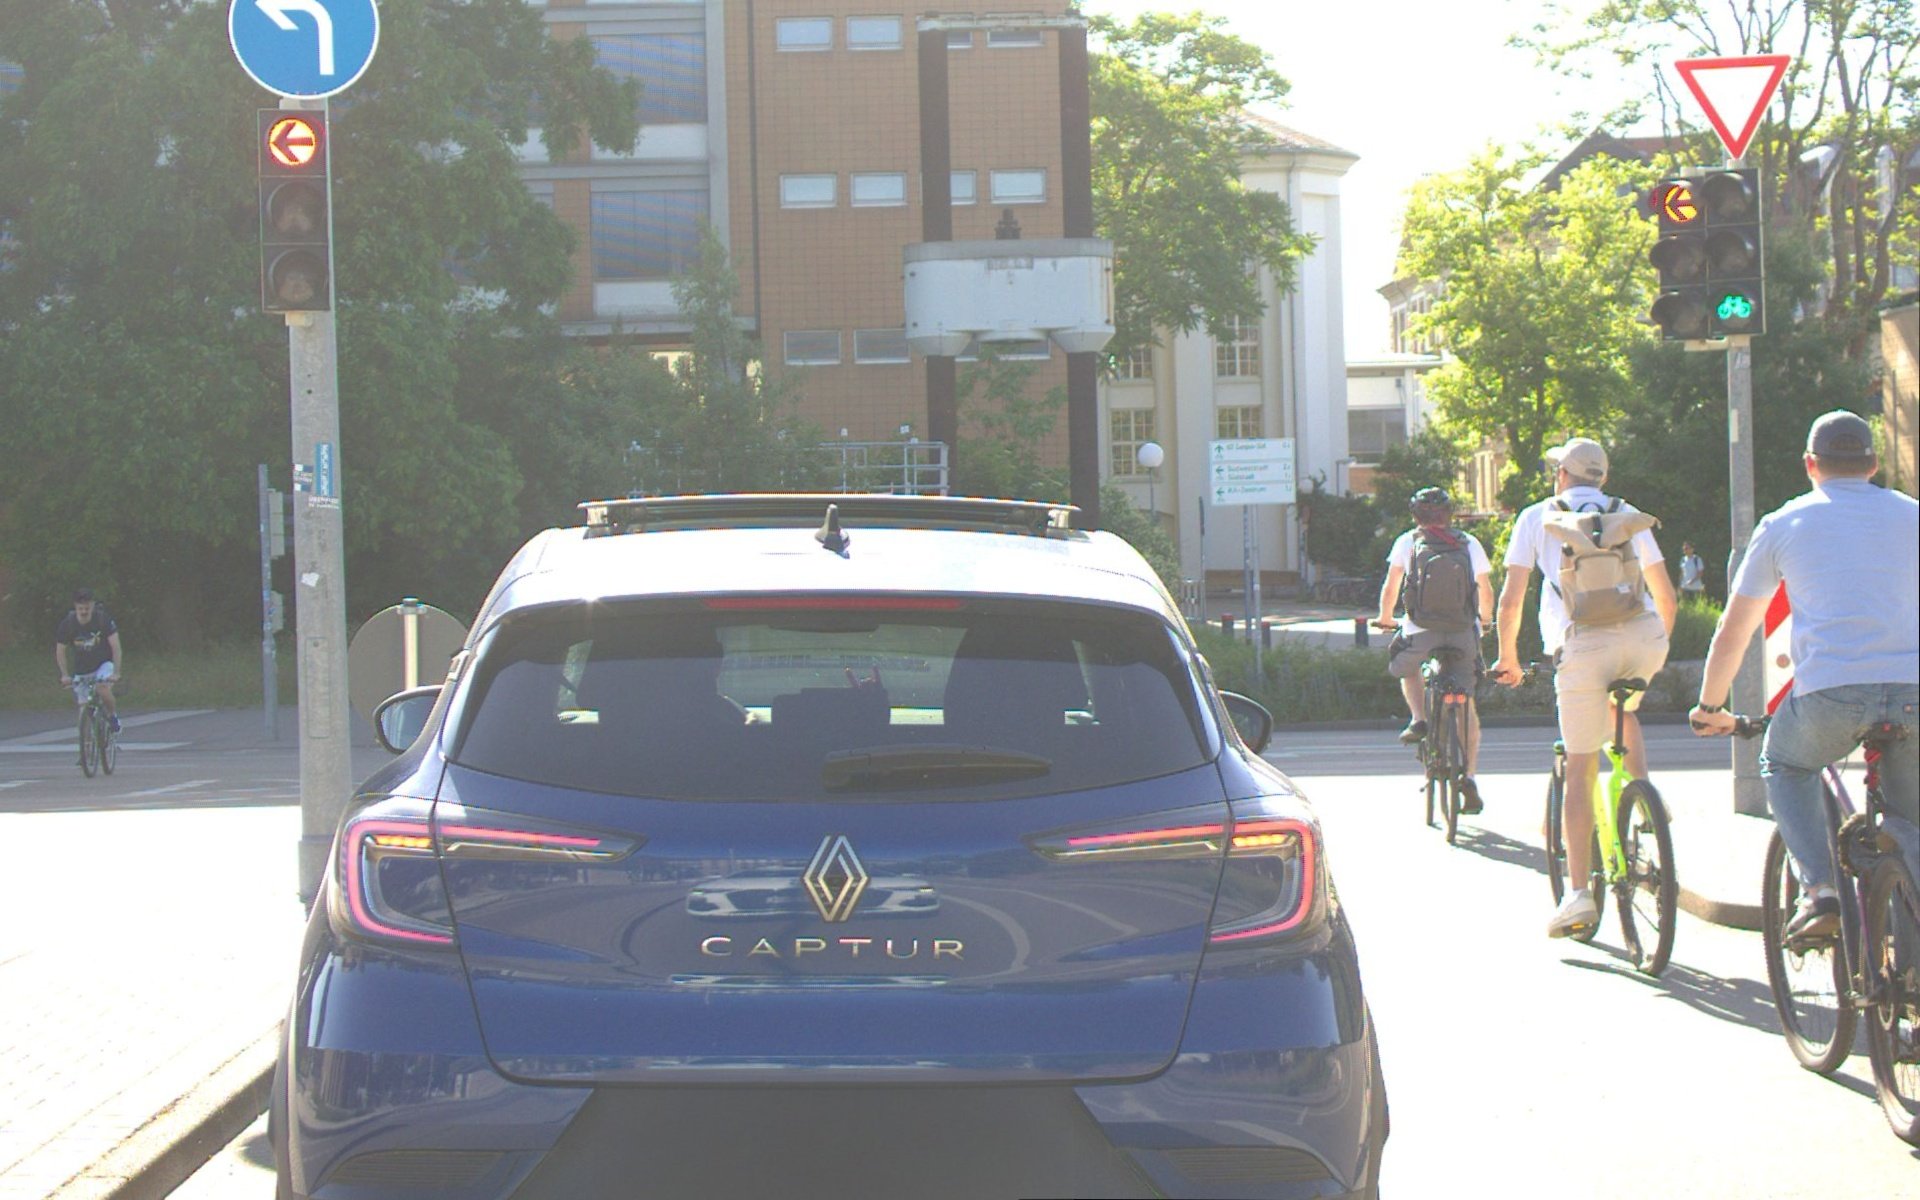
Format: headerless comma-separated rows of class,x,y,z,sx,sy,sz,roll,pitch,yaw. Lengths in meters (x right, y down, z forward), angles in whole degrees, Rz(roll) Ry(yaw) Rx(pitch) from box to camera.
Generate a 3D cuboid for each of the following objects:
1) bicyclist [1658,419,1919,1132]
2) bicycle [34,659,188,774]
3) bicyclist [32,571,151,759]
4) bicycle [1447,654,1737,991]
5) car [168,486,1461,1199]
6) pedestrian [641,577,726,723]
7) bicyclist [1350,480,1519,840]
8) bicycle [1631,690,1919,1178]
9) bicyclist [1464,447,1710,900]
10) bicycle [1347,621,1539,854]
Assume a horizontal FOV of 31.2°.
bicyclist,2.327,0.432,9.170,0.683,1.785,1.142,0,1,-1
bicycle,-8.072,1.095,32.781,0.755,0.981,2.093,-1,1,5
bicyclist,-8.138,0.597,32.237,0.755,1.710,0.998,-1,1,5
bicycle,2.276,0.770,12.600,0.689,1.085,1.922,0,1,-1
car,-0.278,0.610,6.722,1.788,1.580,3.915,0,1,-2
pedestrian,-3.591,0.648,44.694,0.814,1.856,0.909,-1,1,13
bicyclist,2.421,0.290,17.645,0.699,1.785,1.142,0,1,-1
bicycle,2.326,0.821,9.139,0.689,1.085,1.922,0,1,-1
bicyclist,2.286,0.250,12.647,0.678,1.589,1.142,0,1,-1
bicycle,2.432,0.666,17.498,0.689,1.085,1.922,0,1,-1
